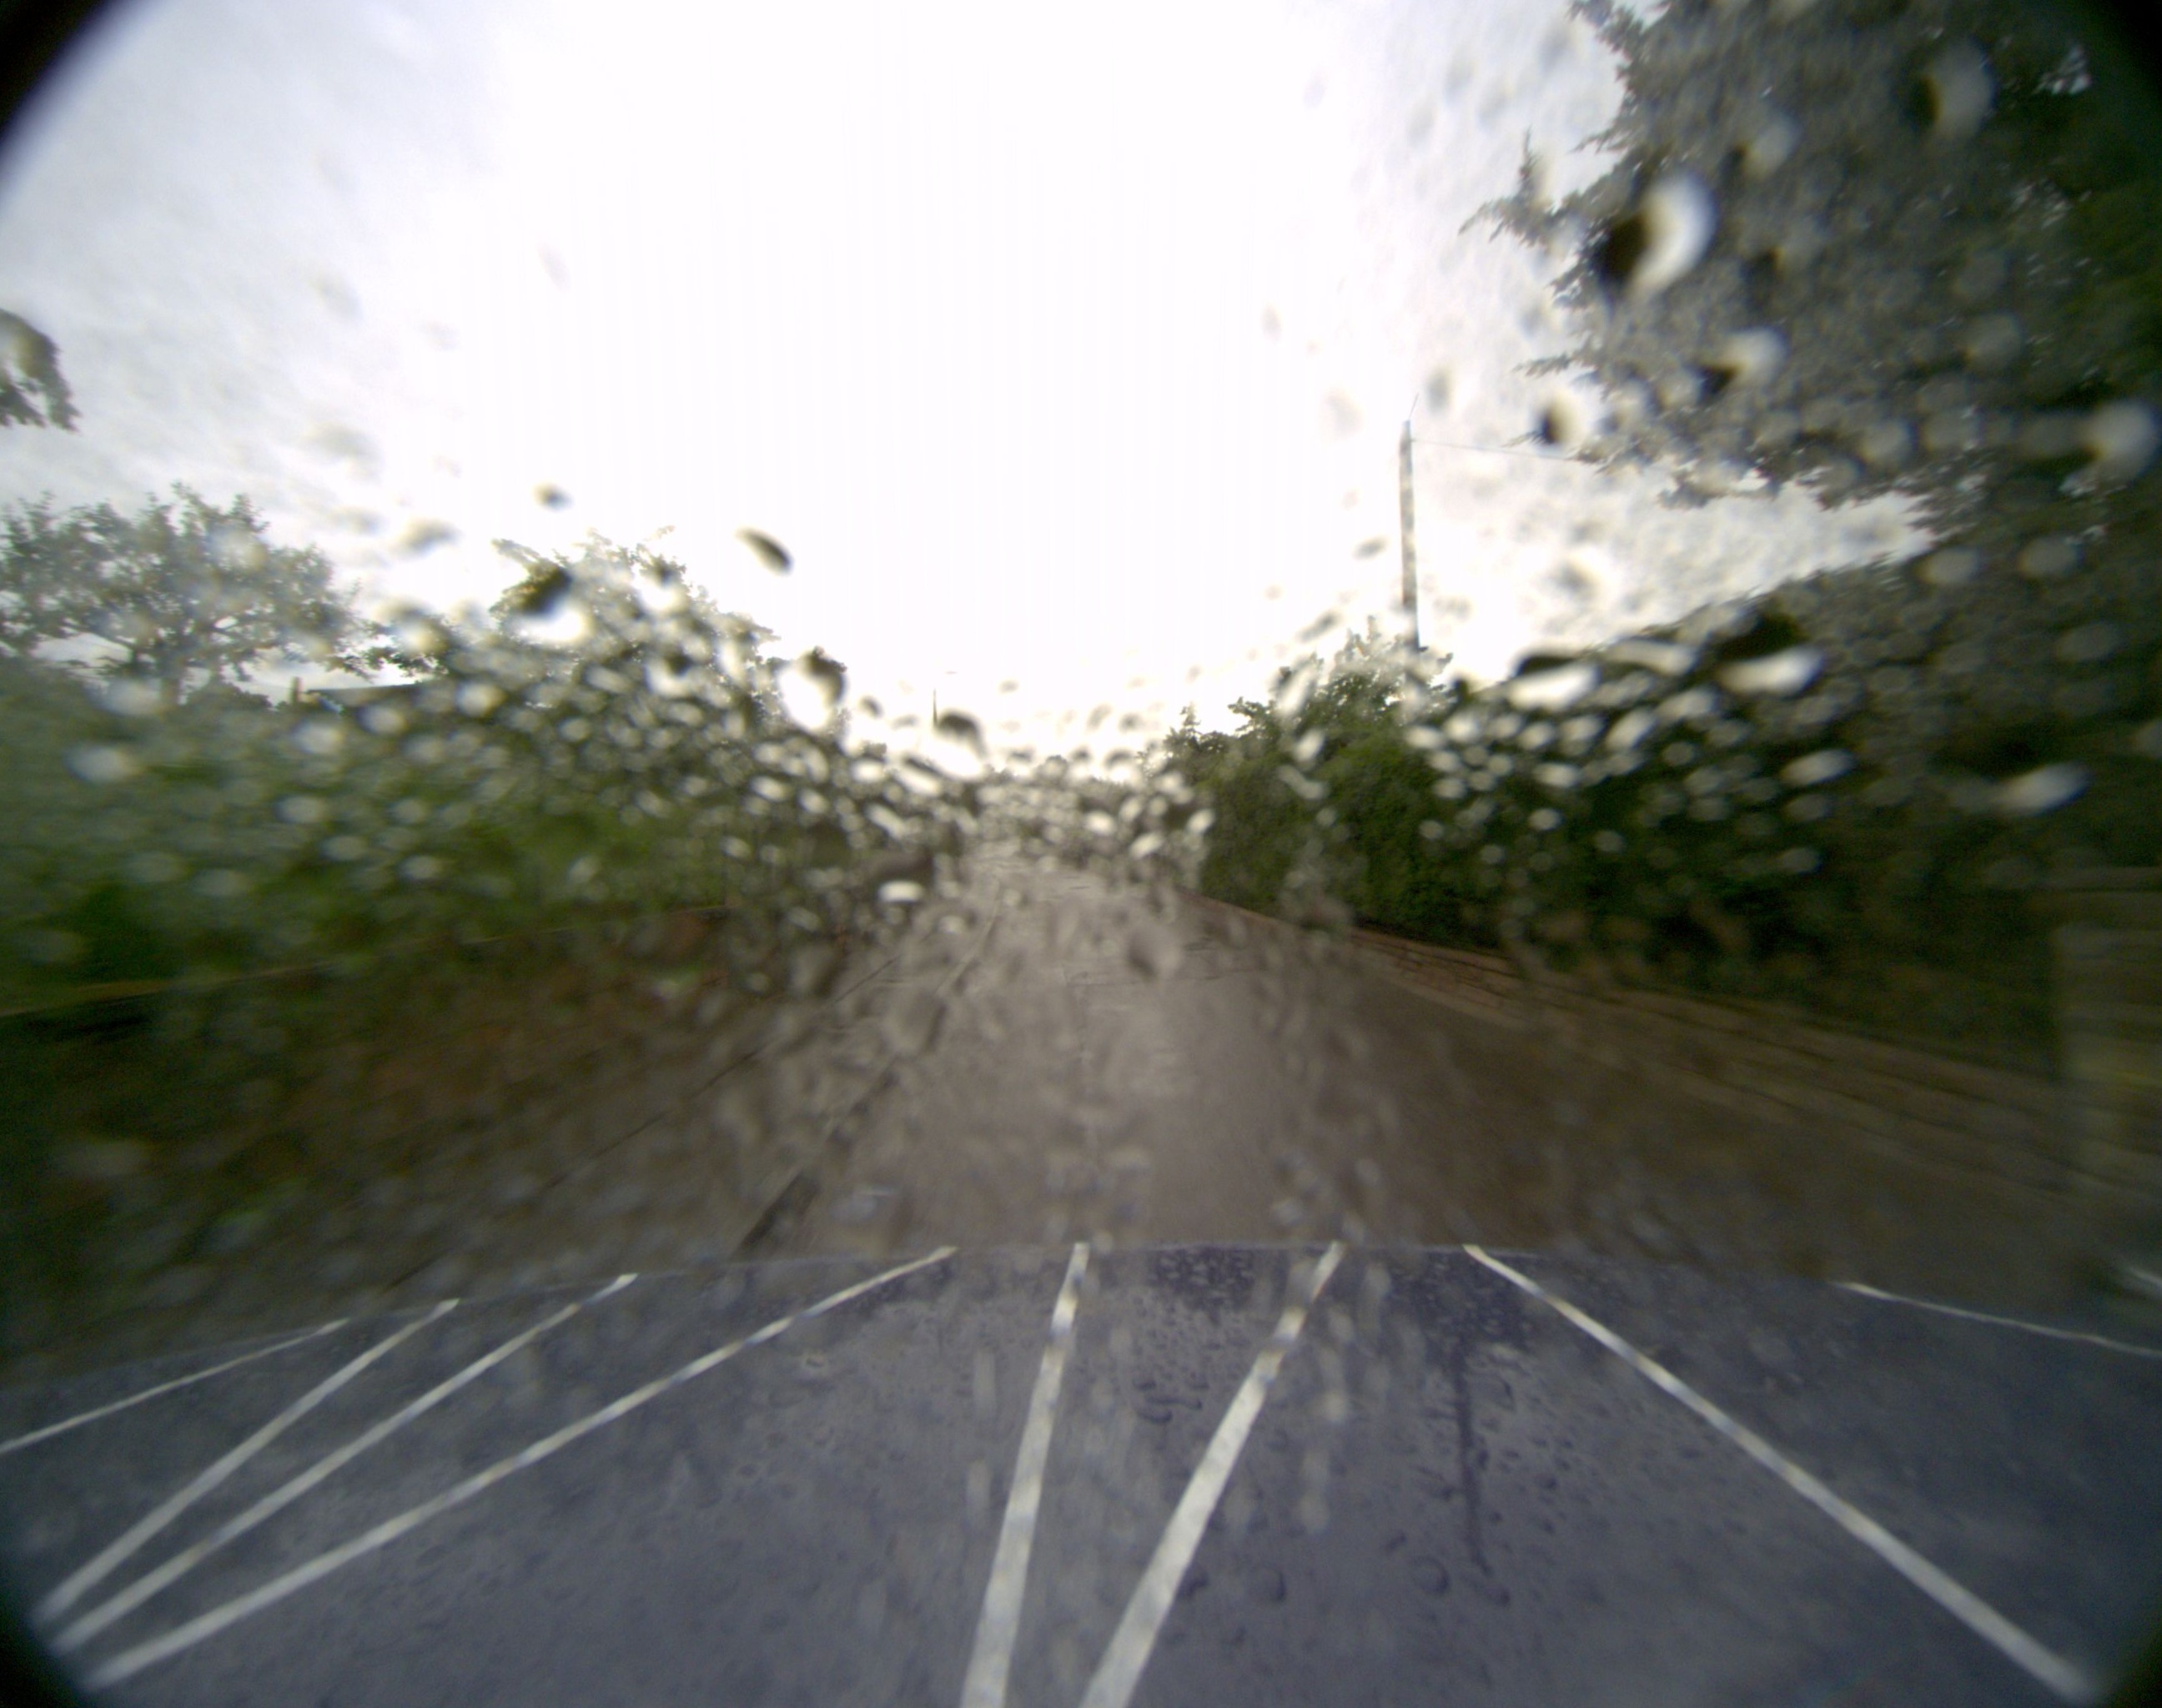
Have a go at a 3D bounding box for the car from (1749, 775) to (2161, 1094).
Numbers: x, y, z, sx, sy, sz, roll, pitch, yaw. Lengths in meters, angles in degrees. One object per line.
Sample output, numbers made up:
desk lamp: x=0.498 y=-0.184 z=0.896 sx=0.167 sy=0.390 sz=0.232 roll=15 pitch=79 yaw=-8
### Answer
car: x=6.495 y=0.332 z=4.728 sx=1.787 sy=1.518 sz=3.657 roll=-5 pitch=3 yaw=9
